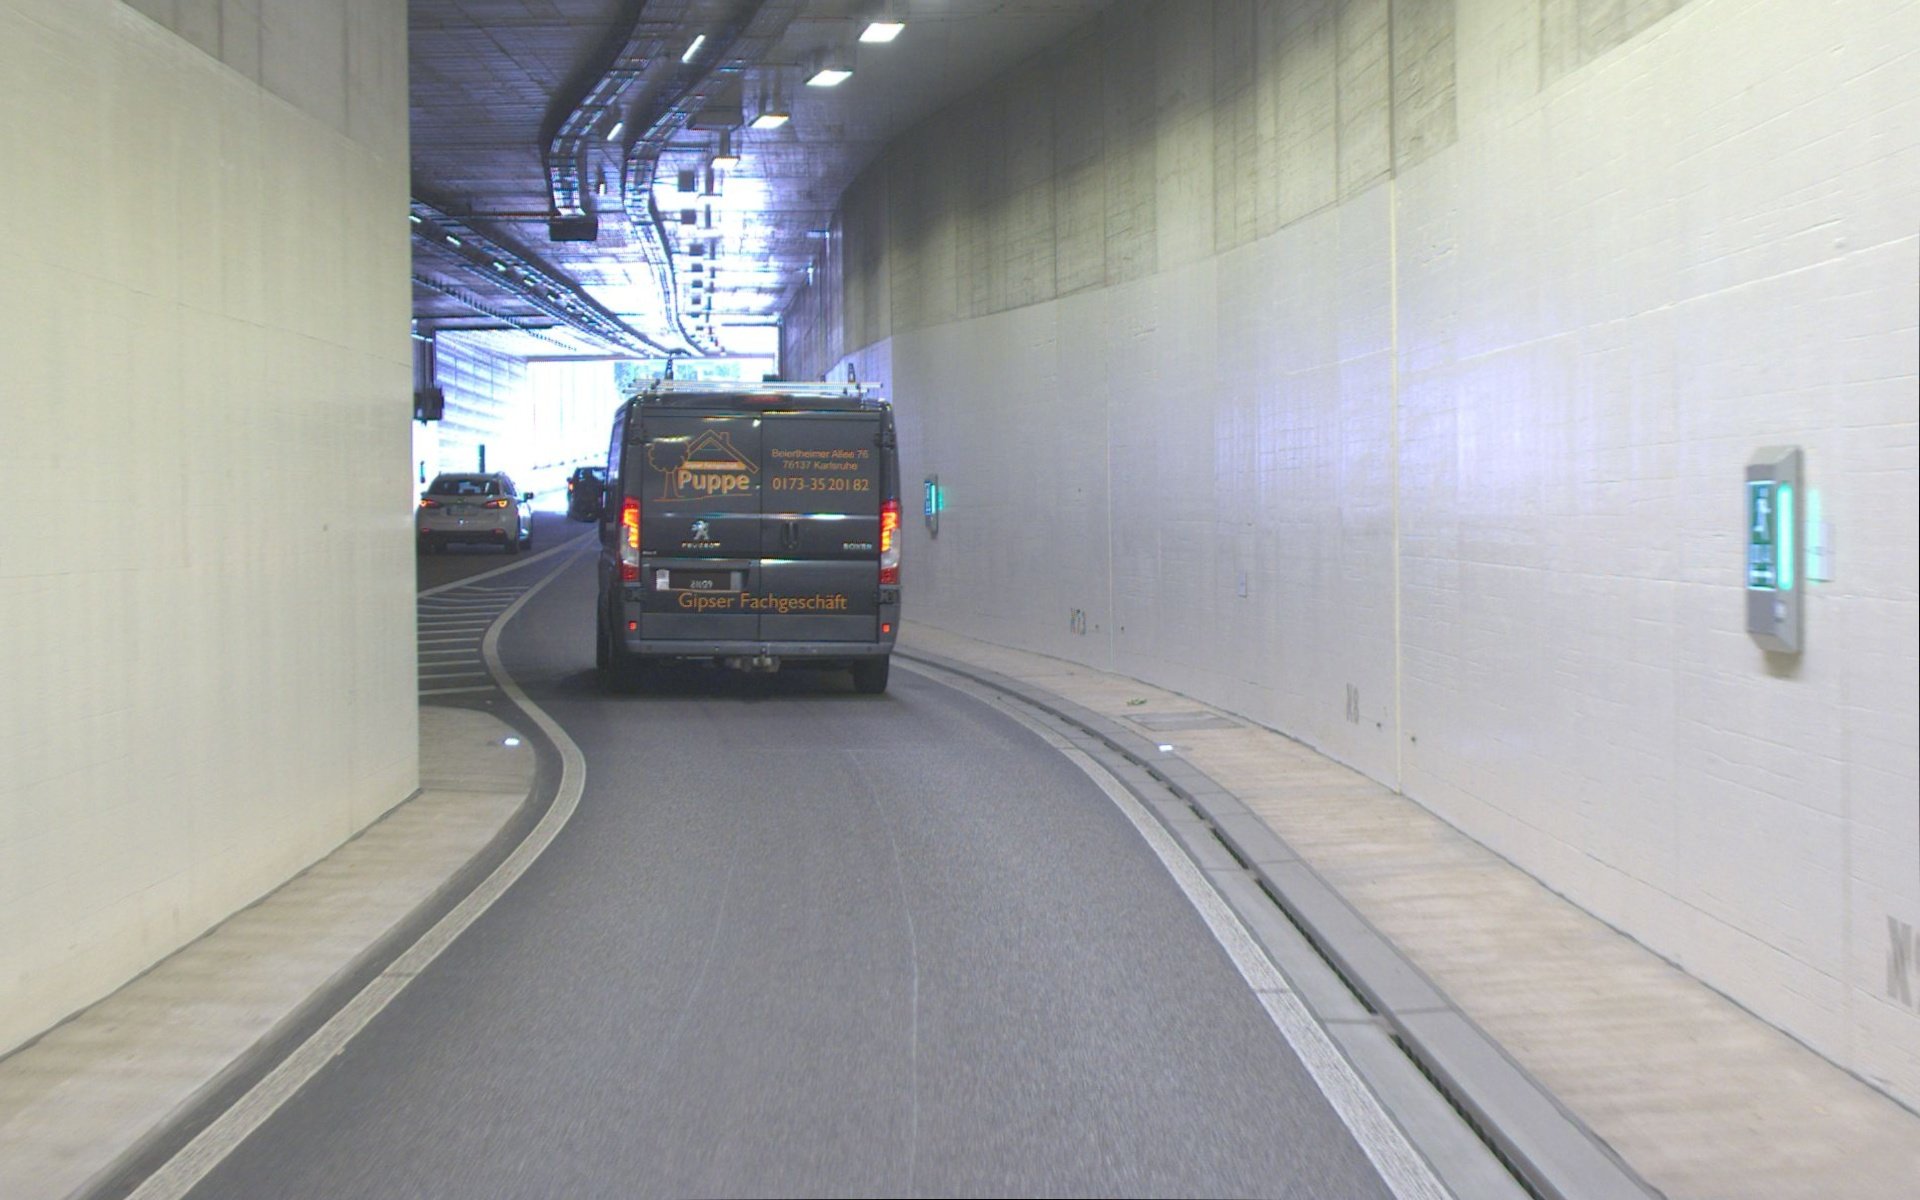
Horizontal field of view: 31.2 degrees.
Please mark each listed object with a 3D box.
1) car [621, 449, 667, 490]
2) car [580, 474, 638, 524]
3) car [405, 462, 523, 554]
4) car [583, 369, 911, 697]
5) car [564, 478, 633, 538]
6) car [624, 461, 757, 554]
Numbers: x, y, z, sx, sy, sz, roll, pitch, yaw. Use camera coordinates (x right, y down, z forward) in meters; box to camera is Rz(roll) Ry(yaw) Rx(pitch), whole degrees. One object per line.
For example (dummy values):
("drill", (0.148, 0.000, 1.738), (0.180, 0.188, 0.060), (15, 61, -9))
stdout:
("car", (-13.312, -5.503, 144.986), (1.876, 1.619, 4.221), (1, 1, -5))
("car", (-11.788, -3.393, 115.725), (1.876, 1.619, 4.221), (1, 1, -5))
("car", (-8.978, -1.662, 62.477), (1.876, 1.576, 4.221), (1, 1, -5))
("car", (-1.728, -0.550, 26.187), (2.158, 2.258, 4.638), (1, 2, -7))
("car", (-10.239, -2.598, 97.567), (1.876, 1.619, 4.221), (1, 1, -5))
("car", (-4.523, -1.596, 58.273), (2.085, 1.508, 4.637), (0, 2, -3))
